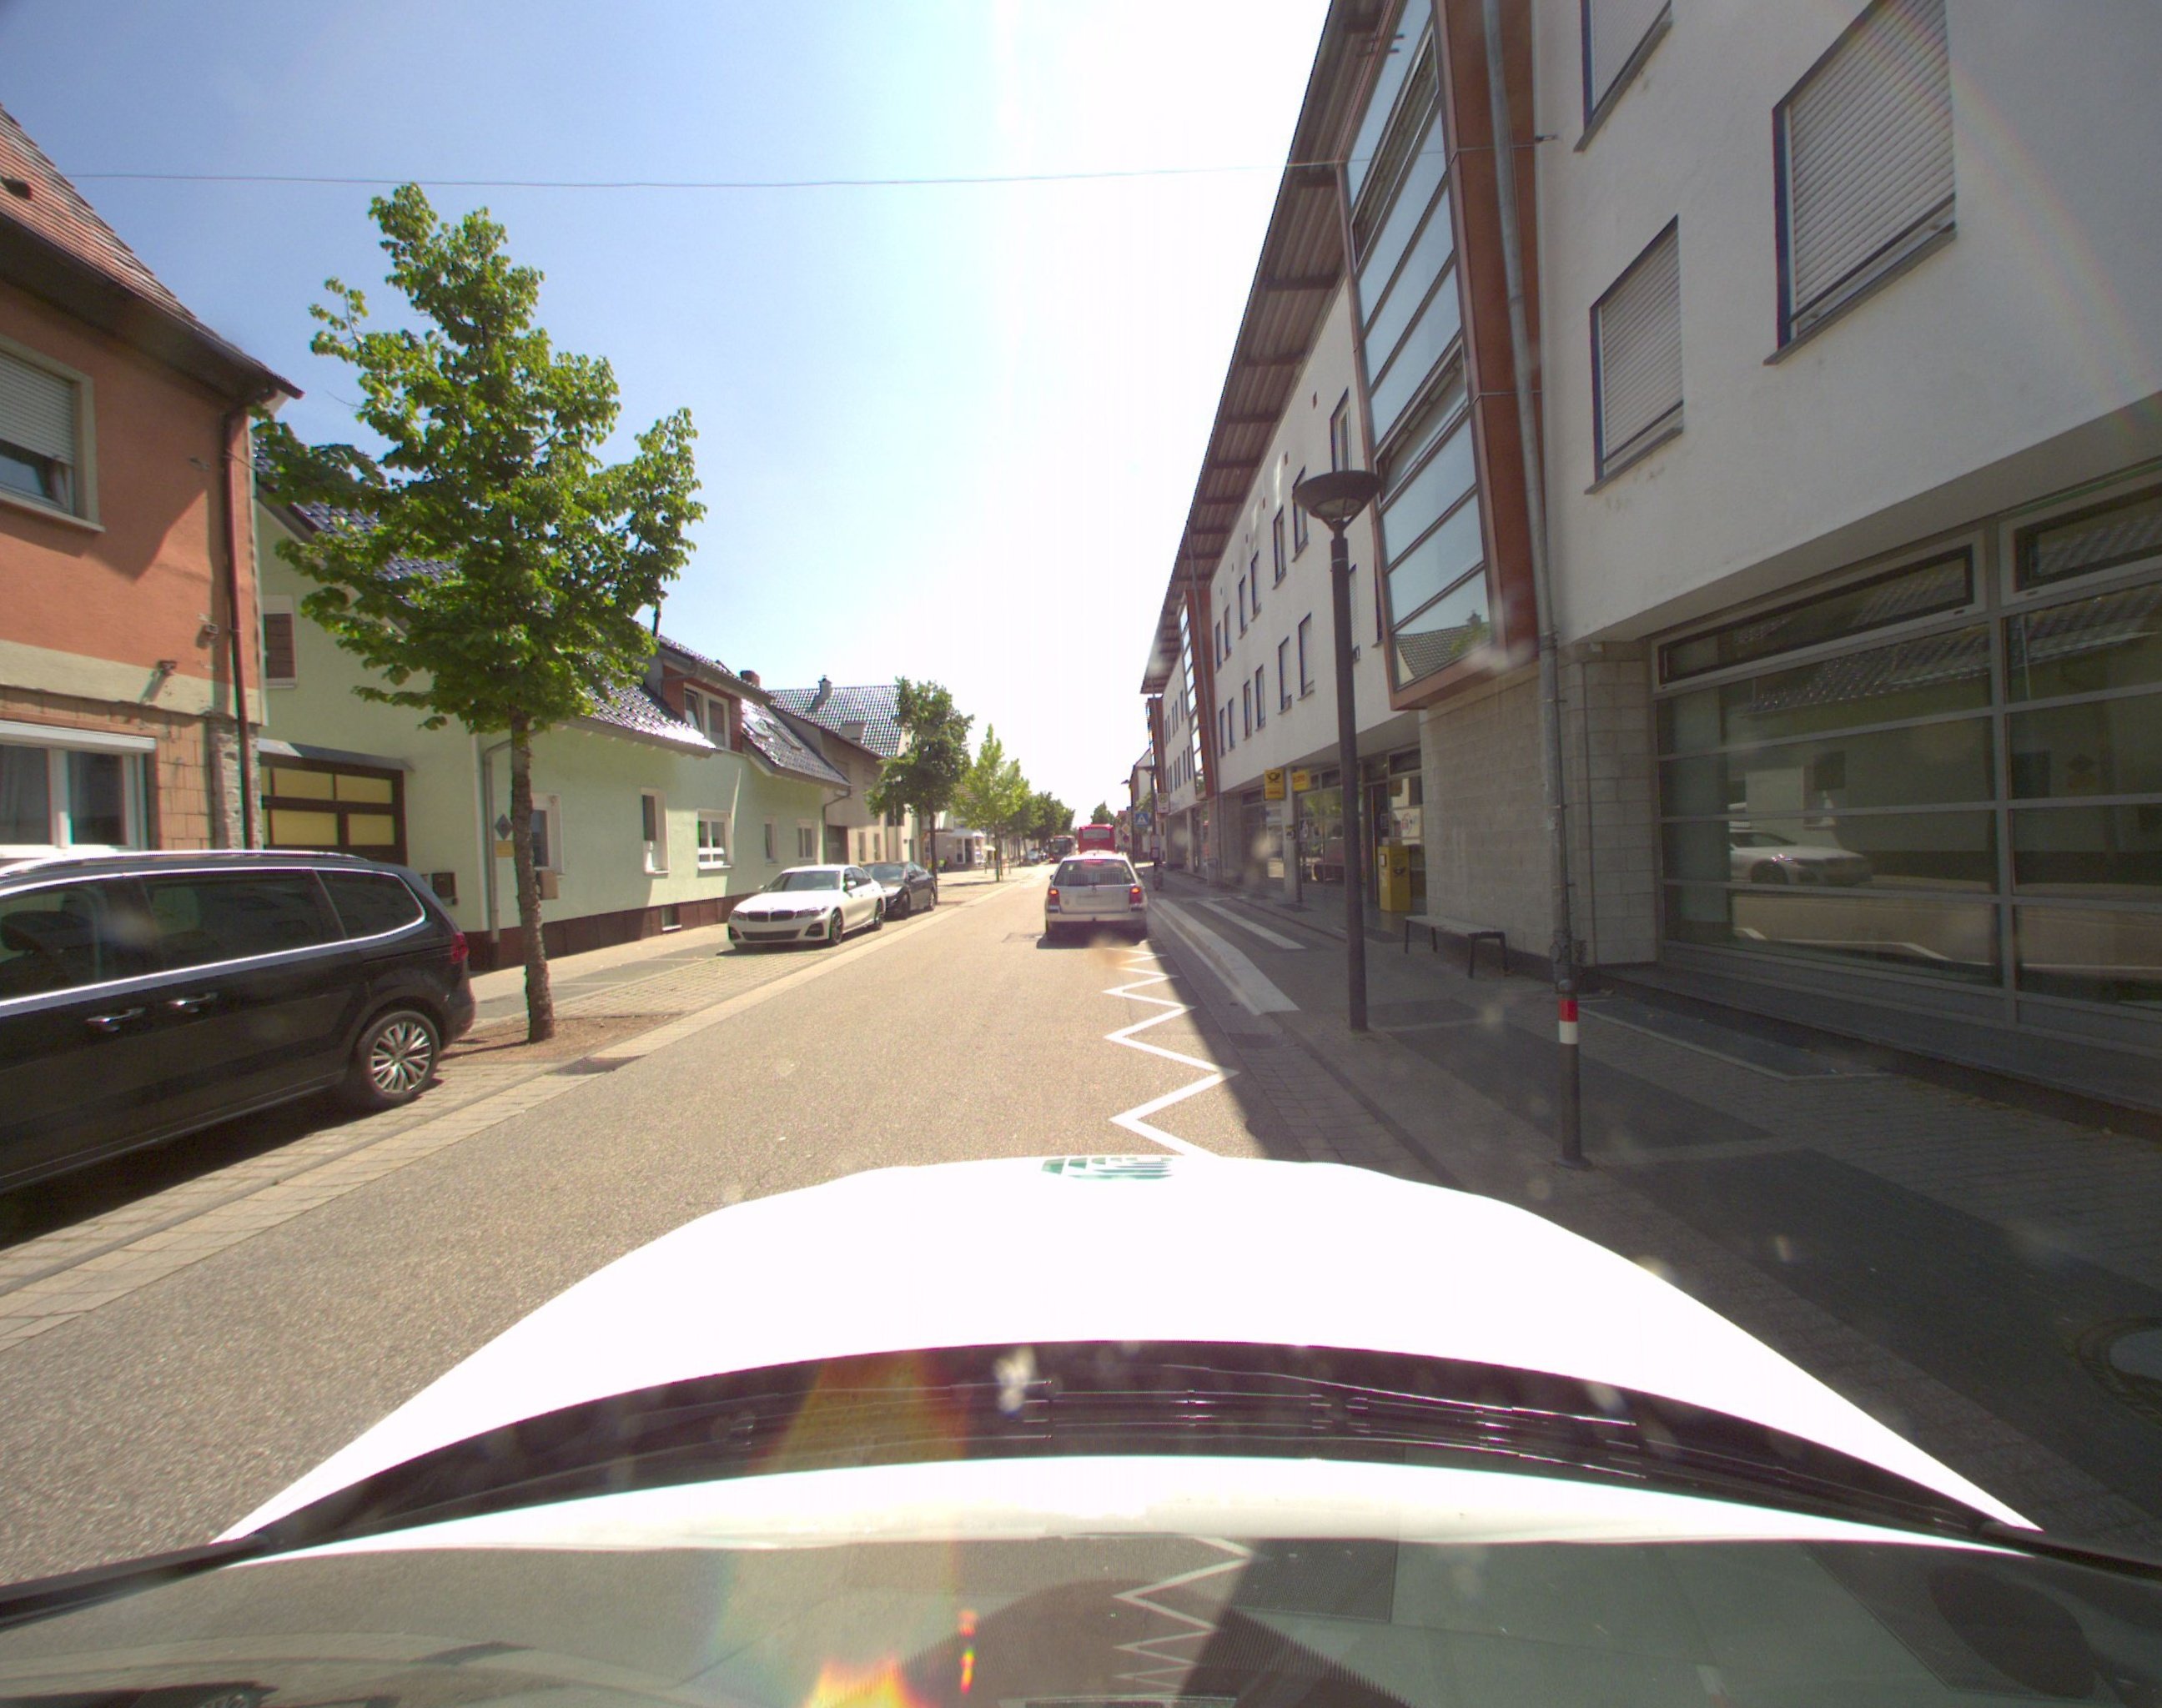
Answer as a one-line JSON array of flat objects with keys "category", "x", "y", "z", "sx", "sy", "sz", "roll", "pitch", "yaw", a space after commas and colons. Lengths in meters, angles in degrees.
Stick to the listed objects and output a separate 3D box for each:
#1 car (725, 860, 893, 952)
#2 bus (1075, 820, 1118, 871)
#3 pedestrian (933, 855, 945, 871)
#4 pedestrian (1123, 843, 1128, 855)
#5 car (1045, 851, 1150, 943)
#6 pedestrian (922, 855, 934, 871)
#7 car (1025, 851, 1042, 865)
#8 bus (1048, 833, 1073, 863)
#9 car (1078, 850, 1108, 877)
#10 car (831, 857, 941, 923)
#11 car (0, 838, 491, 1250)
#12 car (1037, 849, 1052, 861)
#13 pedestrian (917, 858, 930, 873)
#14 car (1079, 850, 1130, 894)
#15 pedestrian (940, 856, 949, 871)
[{"category": "car", "x": -5.127, "y": 0.898, "z": 16.046, "sx": 1.714, "sy": 1.436, "sz": 4.460, "roll": -2, "pitch": 0, "yaw": 1}, {"category": "bus", "x": 1.002, "y": -0.581, "z": 60.633, "sx": 2.732, "sy": 3.298, "sz": 12.701, "roll": -2, "pitch": 0, "yaw": -1}, {"category": "pedestrian", "x": -11.405, "y": 0.736, "z": 65.565, "sx": 0.639, "sy": 1.289, "sz": 0.780, "roll": 0, "pitch": 0, "yaw": -43}, {"category": "pedestrian", "x": 6.266, "y": -0.640, "z": 114.326, "sx": 0.604, "sy": 1.667, "sz": 0.789, "roll": -2, "pitch": 0, "yaw": -1}, {"category": "car", "x": 0.288, "y": 0.676, "z": 14.796, "sx": 1.671, "sy": 1.430, "sz": 3.680, "roll": 0, "pitch": 0, "yaw": 1}, {"category": "pedestrian", "x": -12.348, "y": 0.736, "z": 65.852, "sx": 0.639, "sy": 1.289, "sz": 0.780, "roll": 0, "pitch": 0, "yaw": -43}, {"category": "car", "x": -5.275, "y": 0.391, "z": 90.390, "sx": 1.600, "sy": 1.438, "sz": 4.065, "roll": -2, "pitch": 0, "yaw": 0}, {"category": "bus", "x": -2.422, "y": -0.774, "z": 98.290, "sx": 2.661, "sy": 3.123, "sz": 17.798, "roll": -3, "pitch": 1, "yaw": -1}, {"category": "car", "x": 0.718, "y": 0.491, "z": 45.330, "sx": 1.588, "sy": 1.430, "sz": 3.681, "roll": -1, "pitch": 0, "yaw": 2}, {"category": "car", "x": -5.013, "y": 0.859, "z": 21.572, "sx": 1.654, "sy": 1.436, "sz": 4.540, "roll": -2, "pitch": 0, "yaw": 2}, {"category": "car", "x": -5.428, "y": 0.827, "z": 3.923, "sx": 1.769, "sy": 1.726, "sz": 4.520, "roll": -2, "pitch": 0, "yaw": 1}, {"category": "car", "x": -5.215, "y": 0.114, "z": 116.682, "sx": 1.805, "sy": 1.559, "sz": 4.000, "roll": -2, "pitch": 0, "yaw": 0}, {"category": "pedestrian", "x": -12.580, "y": 0.912, "z": 65.059, "sx": 0.639, "sy": 1.116, "sz": 0.780, "roll": 0, "pitch": 0, "yaw": -43}, {"category": "car", "x": 0.796, "y": 0.581, "z": 28.371, "sx": 1.671, "sy": 1.430, "sz": 3.680, "roll": 0, "pitch": 0, "yaw": 1}, {"category": "pedestrian", "x": -11.159, "y": 0.780, "z": 66.764, "sx": 0.620, "sy": 1.178, "sz": 0.696, "roll": -2, "pitch": 0, "yaw": -4}]
